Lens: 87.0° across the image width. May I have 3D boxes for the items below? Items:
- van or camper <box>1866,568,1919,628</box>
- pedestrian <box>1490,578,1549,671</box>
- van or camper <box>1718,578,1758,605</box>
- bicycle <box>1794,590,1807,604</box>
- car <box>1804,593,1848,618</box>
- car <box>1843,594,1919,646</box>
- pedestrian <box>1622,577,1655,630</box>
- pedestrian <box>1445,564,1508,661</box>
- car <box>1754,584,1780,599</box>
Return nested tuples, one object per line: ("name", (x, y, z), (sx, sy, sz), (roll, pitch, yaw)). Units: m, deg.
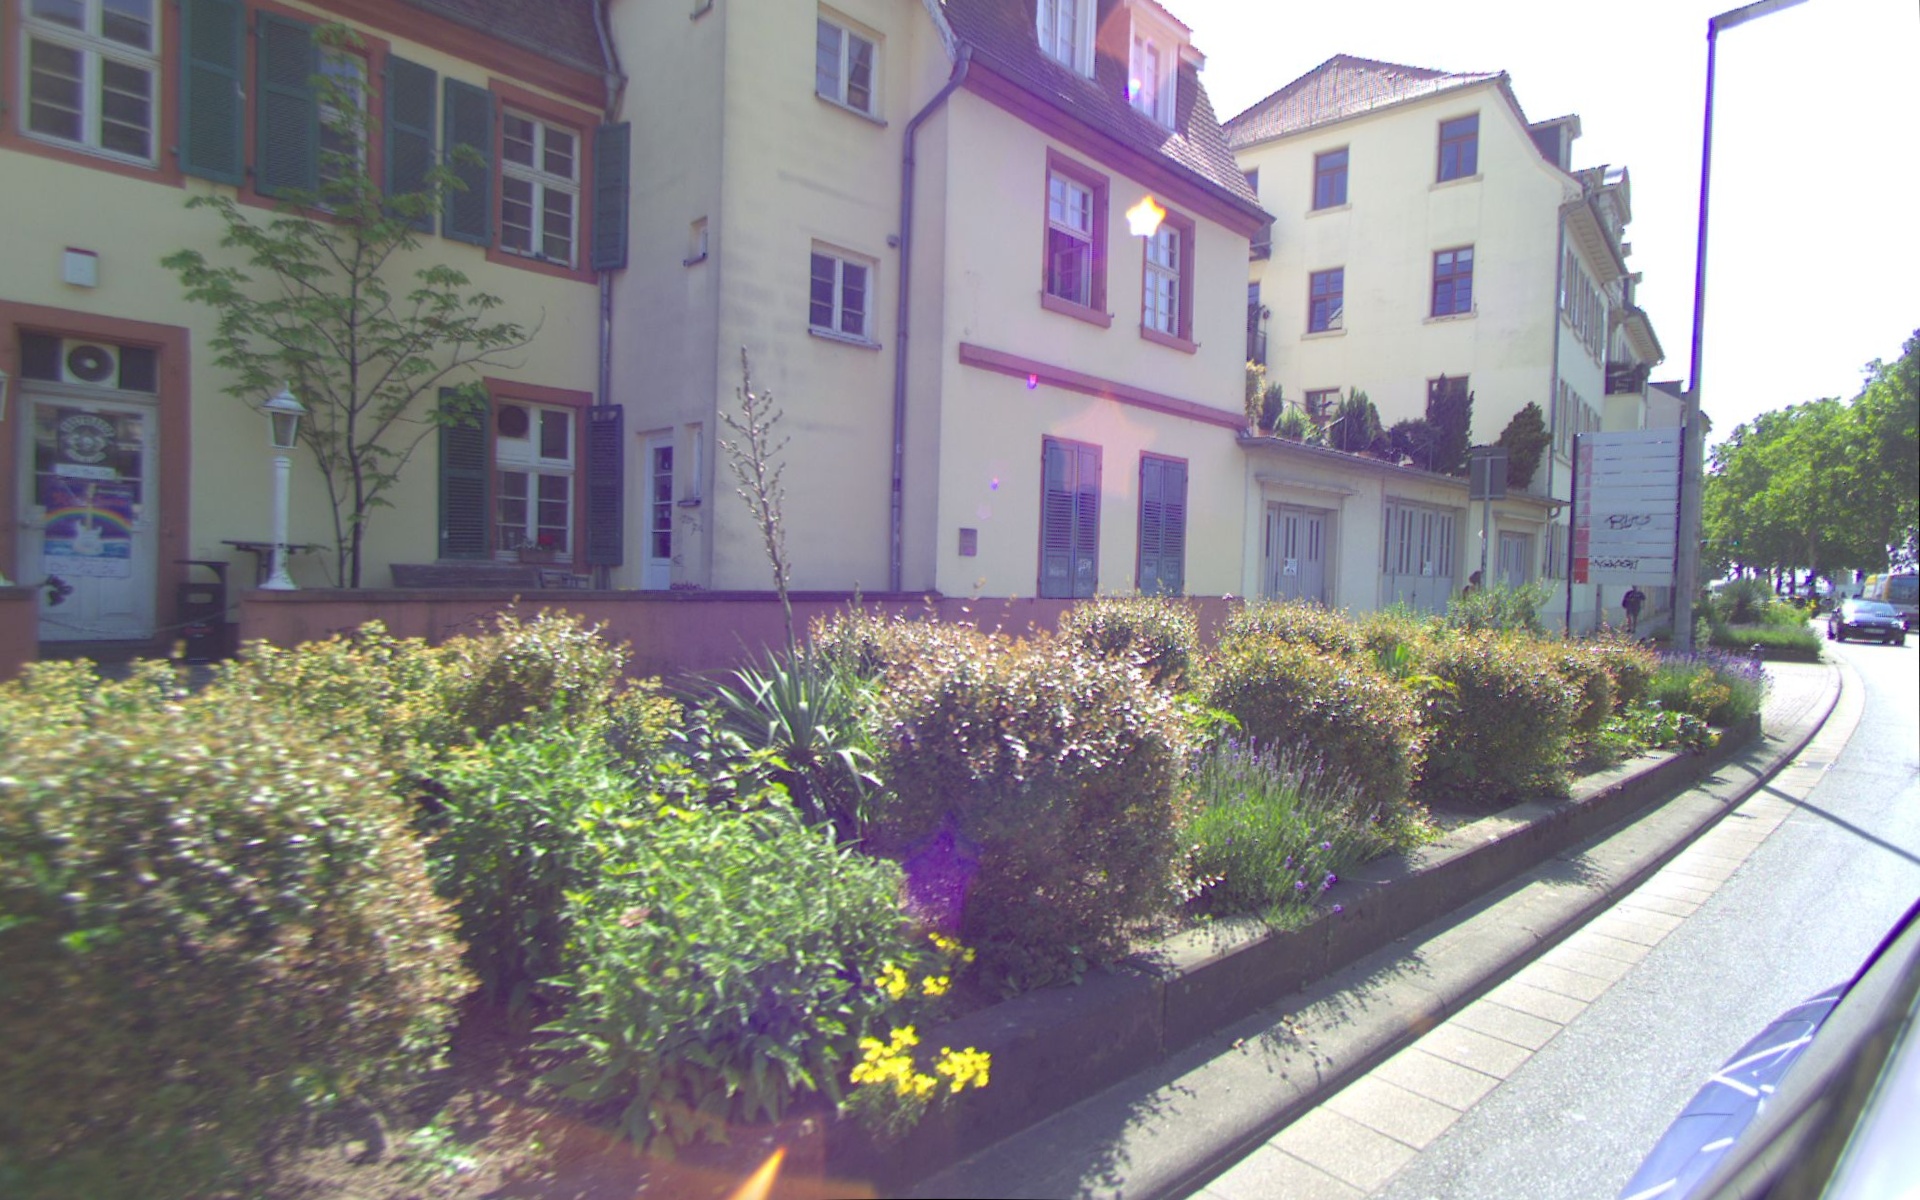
("van or camper", (43.696, -0.140, 46.581), (2.081, 2.588, 7.003), (2, 2, 35))
("pedestrian", (10.069, 0.418, 18.219), (0.761, 1.615, 0.685), (2, 2, 42))
("van or camper", (71.990, -0.831, 93.709), (2.422, 2.312, 6.131), (3, 2, 33))
("bicycle", (67.642, -0.227, 81.418), (0.739, 1.090, 1.926), (1, 1, 38))
("car", (56.492, 0.318, 66.077), (1.696, 1.476, 3.953), (3, 3, 34))
("car", (28.730, 0.579, 31.469), (1.869, 1.442, 4.673), (2, 1, 41))
("pedestrian", (23.194, 0.103, 34.576), (0.760, 1.734, 0.686), (6, 4, 38))
("pedestrian", (9.529, 0.214, 18.665), (0.737, 1.719, 0.919), (4, 3, 42))
("car", (80.760, -0.841, 101.330), (1.695, 1.463, 4.040), (1, 0, 34))
